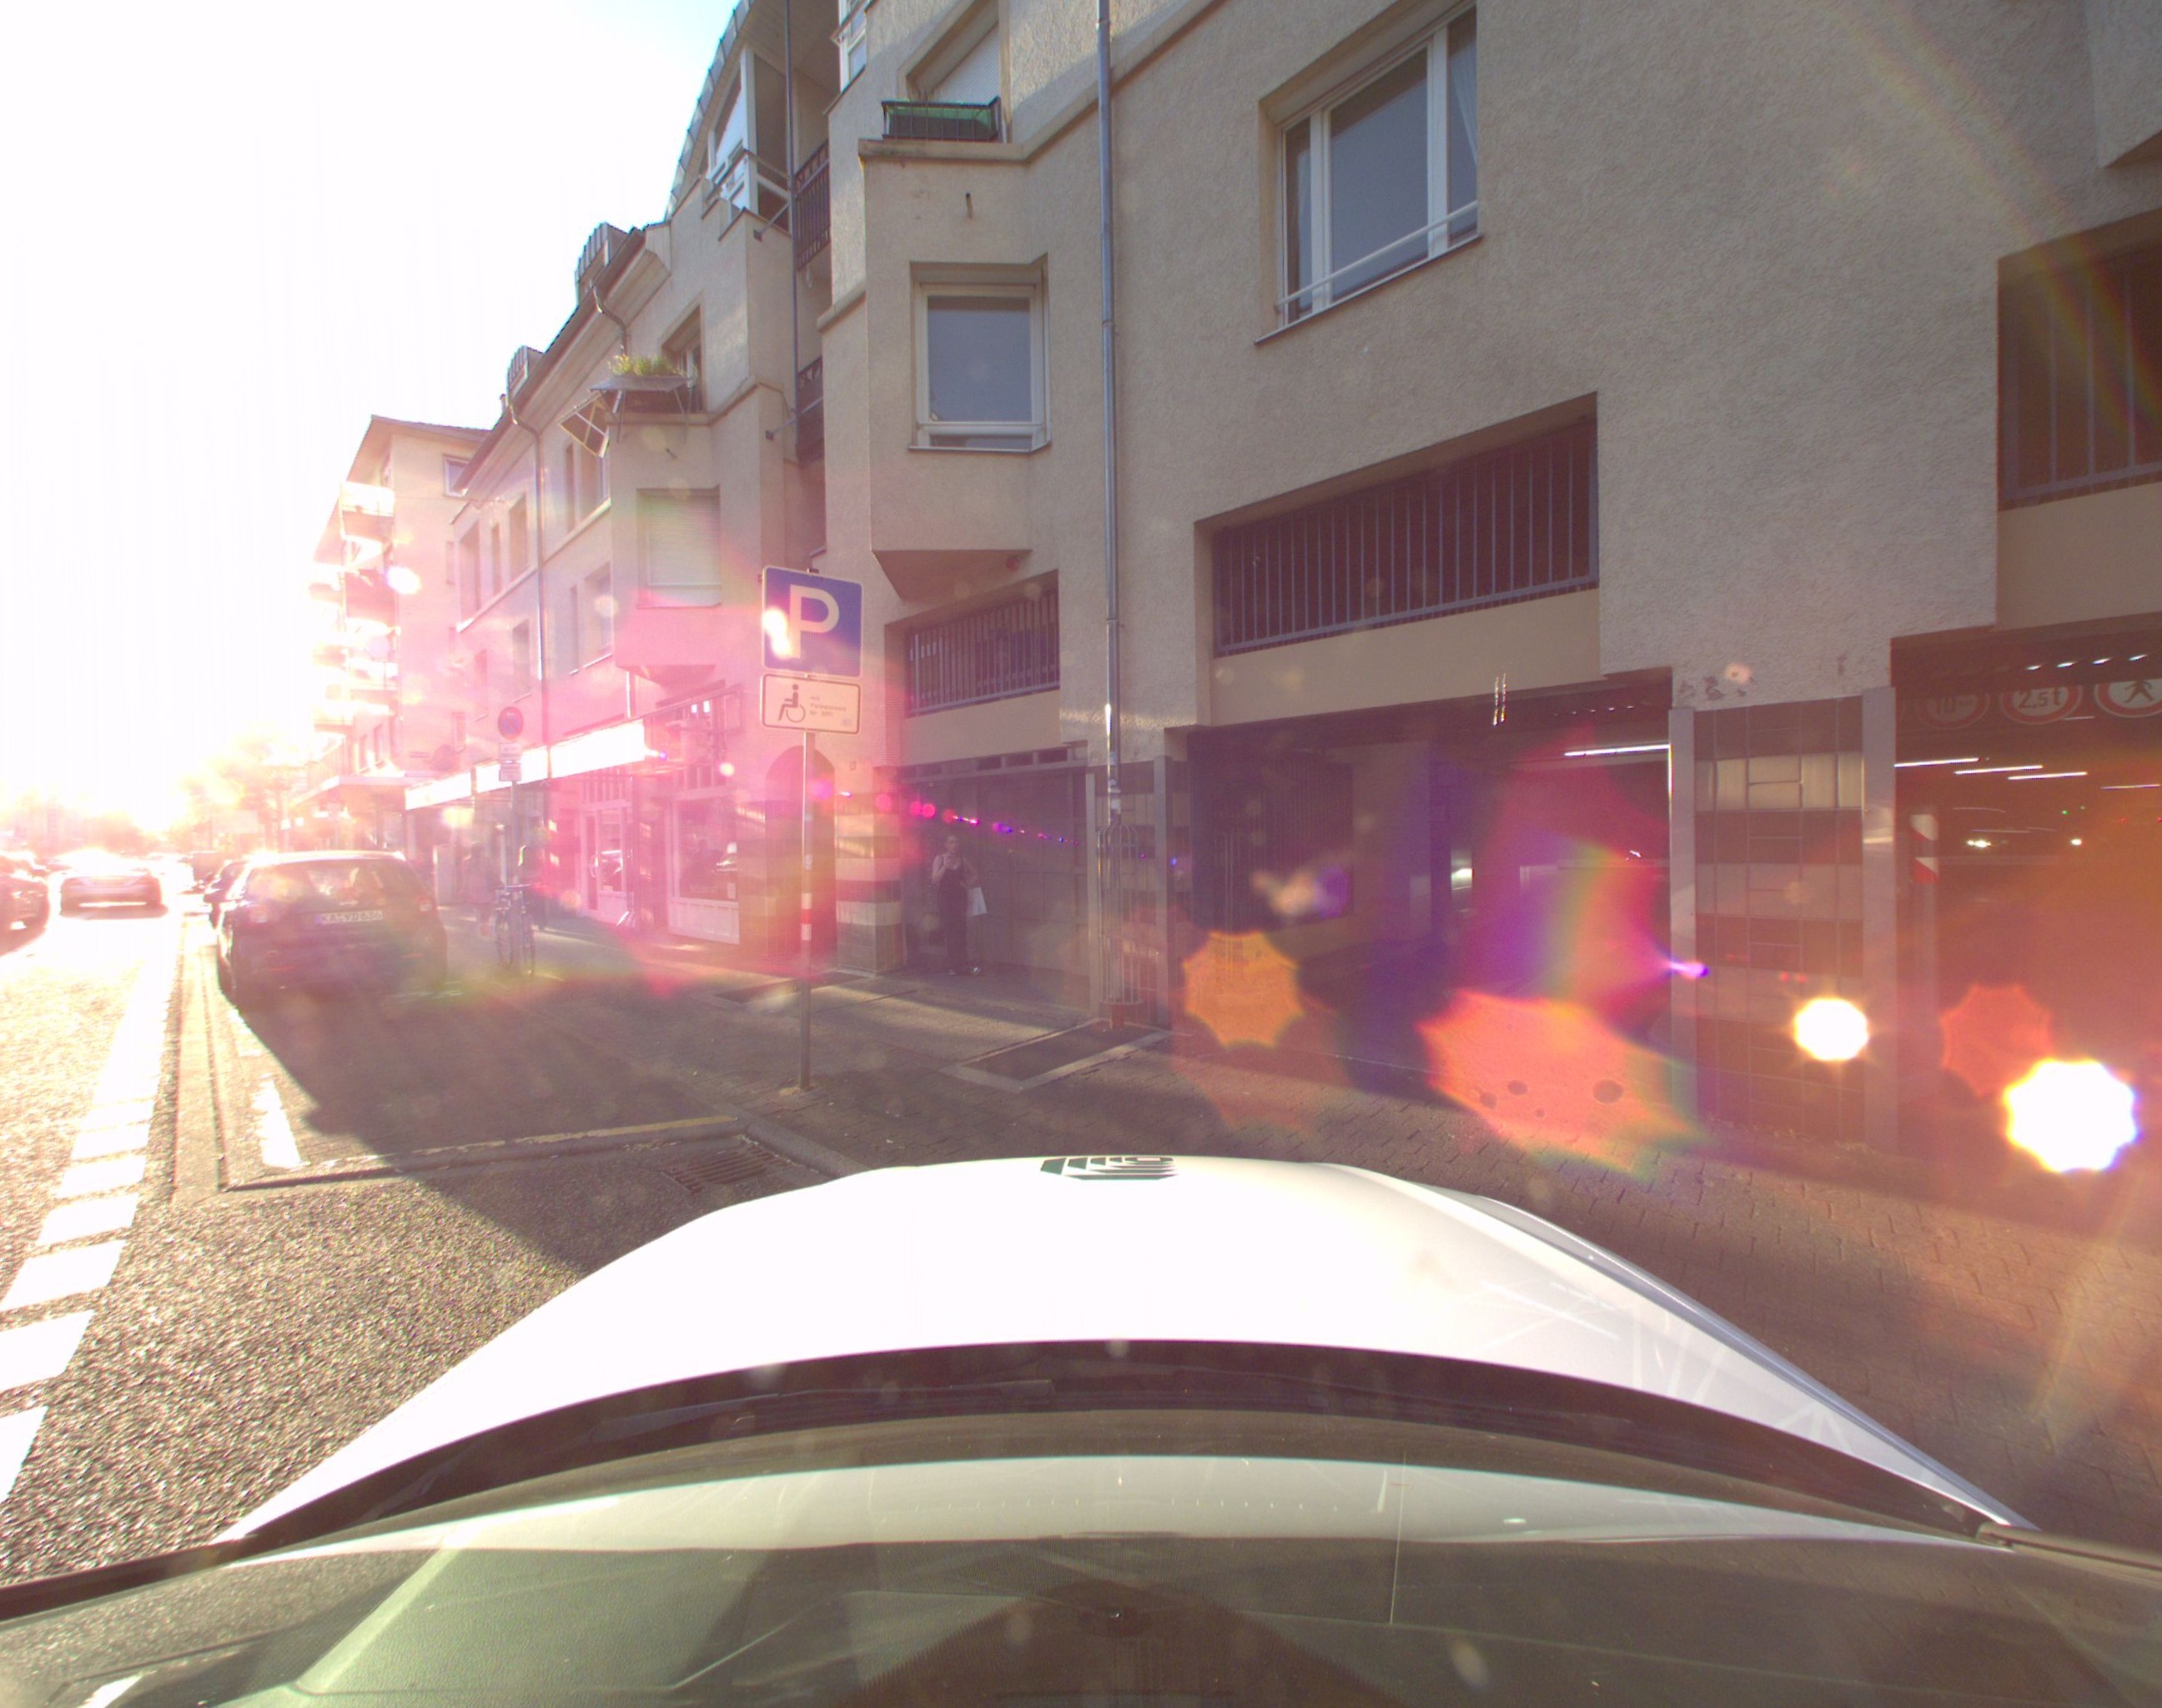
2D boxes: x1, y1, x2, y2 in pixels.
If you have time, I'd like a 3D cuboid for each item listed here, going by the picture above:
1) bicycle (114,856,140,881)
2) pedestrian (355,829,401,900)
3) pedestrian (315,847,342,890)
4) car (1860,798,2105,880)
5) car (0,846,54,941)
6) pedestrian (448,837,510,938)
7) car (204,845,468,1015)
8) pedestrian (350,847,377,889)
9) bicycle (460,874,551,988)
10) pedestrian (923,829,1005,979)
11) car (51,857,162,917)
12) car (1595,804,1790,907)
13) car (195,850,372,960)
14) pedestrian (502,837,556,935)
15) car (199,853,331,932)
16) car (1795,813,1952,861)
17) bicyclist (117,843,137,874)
[{"bbox_3d":[-49.606,0.747,42.351,0.669,1.243,2.104,1,0,-44],"label":"bicycle"},{"bbox_3d":[-17.643,0.247,20.434,0.728,1.733,0.725,0,2,42],"label":"pedestrian"},{"bbox_3d":[-32.165,0.623,34.808,0.658,1.791,0.725,0,2,43],"label":"pedestrian"},{"bbox_3d":[20.012,-0.347,18.398,1.870,1.624,4.321,-1,1,19],"label":"car"},{"bbox_3d":[-21.369,0.696,15.435,4.267,1.697,1.890,0,0,45],"label":"car"},{"bbox_3d":[-10.591,0.560,14.329,1.027,1.700,0.636,0,1,42],"label":"pedestrian"},{"bbox_3d":[-8.938,0.712,9.669,3.916,1.580,1.806,0,1,40],"label":"car"},{"bbox_3d":[-30.795,0.593,34.953,0.658,1.791,0.725,0,2,43],"label":"pedestrian"},{"bbox_3d":[-7.063,0.878,9.950,1.953,1.206,0.563,0,1,45],"label":"bicycle"},{"bbox_3d":[-1.297,0.523,8.967,0.779,1.572,0.530,-1,1,-20],"label":"pedestrian"},{"bbox_3d":[-29.125,0.911,24.463,4.348,1.604,2.012,0,0,41],"label":"car"},{"bbox_3d":[11.030,-0.045,14.586,4.273,1.572,1.798,-3,1,-39],"label":"car"},{"bbox_3d":[-13.640,0.749,13.872,3.739,1.580,1.806,0,1,40],"label":"car"},{"bbox_3d":[-9.936,0.547,14.660,0.821,1.700,0.565,0,1,42],"label":"pedestrian"},{"bbox_3d":[-18.647,0.778,18.573,3.739,1.580,1.806,0,1,40],"label":"car"},{"bbox_3d":[25.454,-0.582,26.344,1.595,1.391,3.888,-2,2,6],"label":"car"},{"bbox_3d":[-49.542,0.234,42.280,0.552,1.580,0.793,-2,2,-44],"label":"bicyclist"}]
